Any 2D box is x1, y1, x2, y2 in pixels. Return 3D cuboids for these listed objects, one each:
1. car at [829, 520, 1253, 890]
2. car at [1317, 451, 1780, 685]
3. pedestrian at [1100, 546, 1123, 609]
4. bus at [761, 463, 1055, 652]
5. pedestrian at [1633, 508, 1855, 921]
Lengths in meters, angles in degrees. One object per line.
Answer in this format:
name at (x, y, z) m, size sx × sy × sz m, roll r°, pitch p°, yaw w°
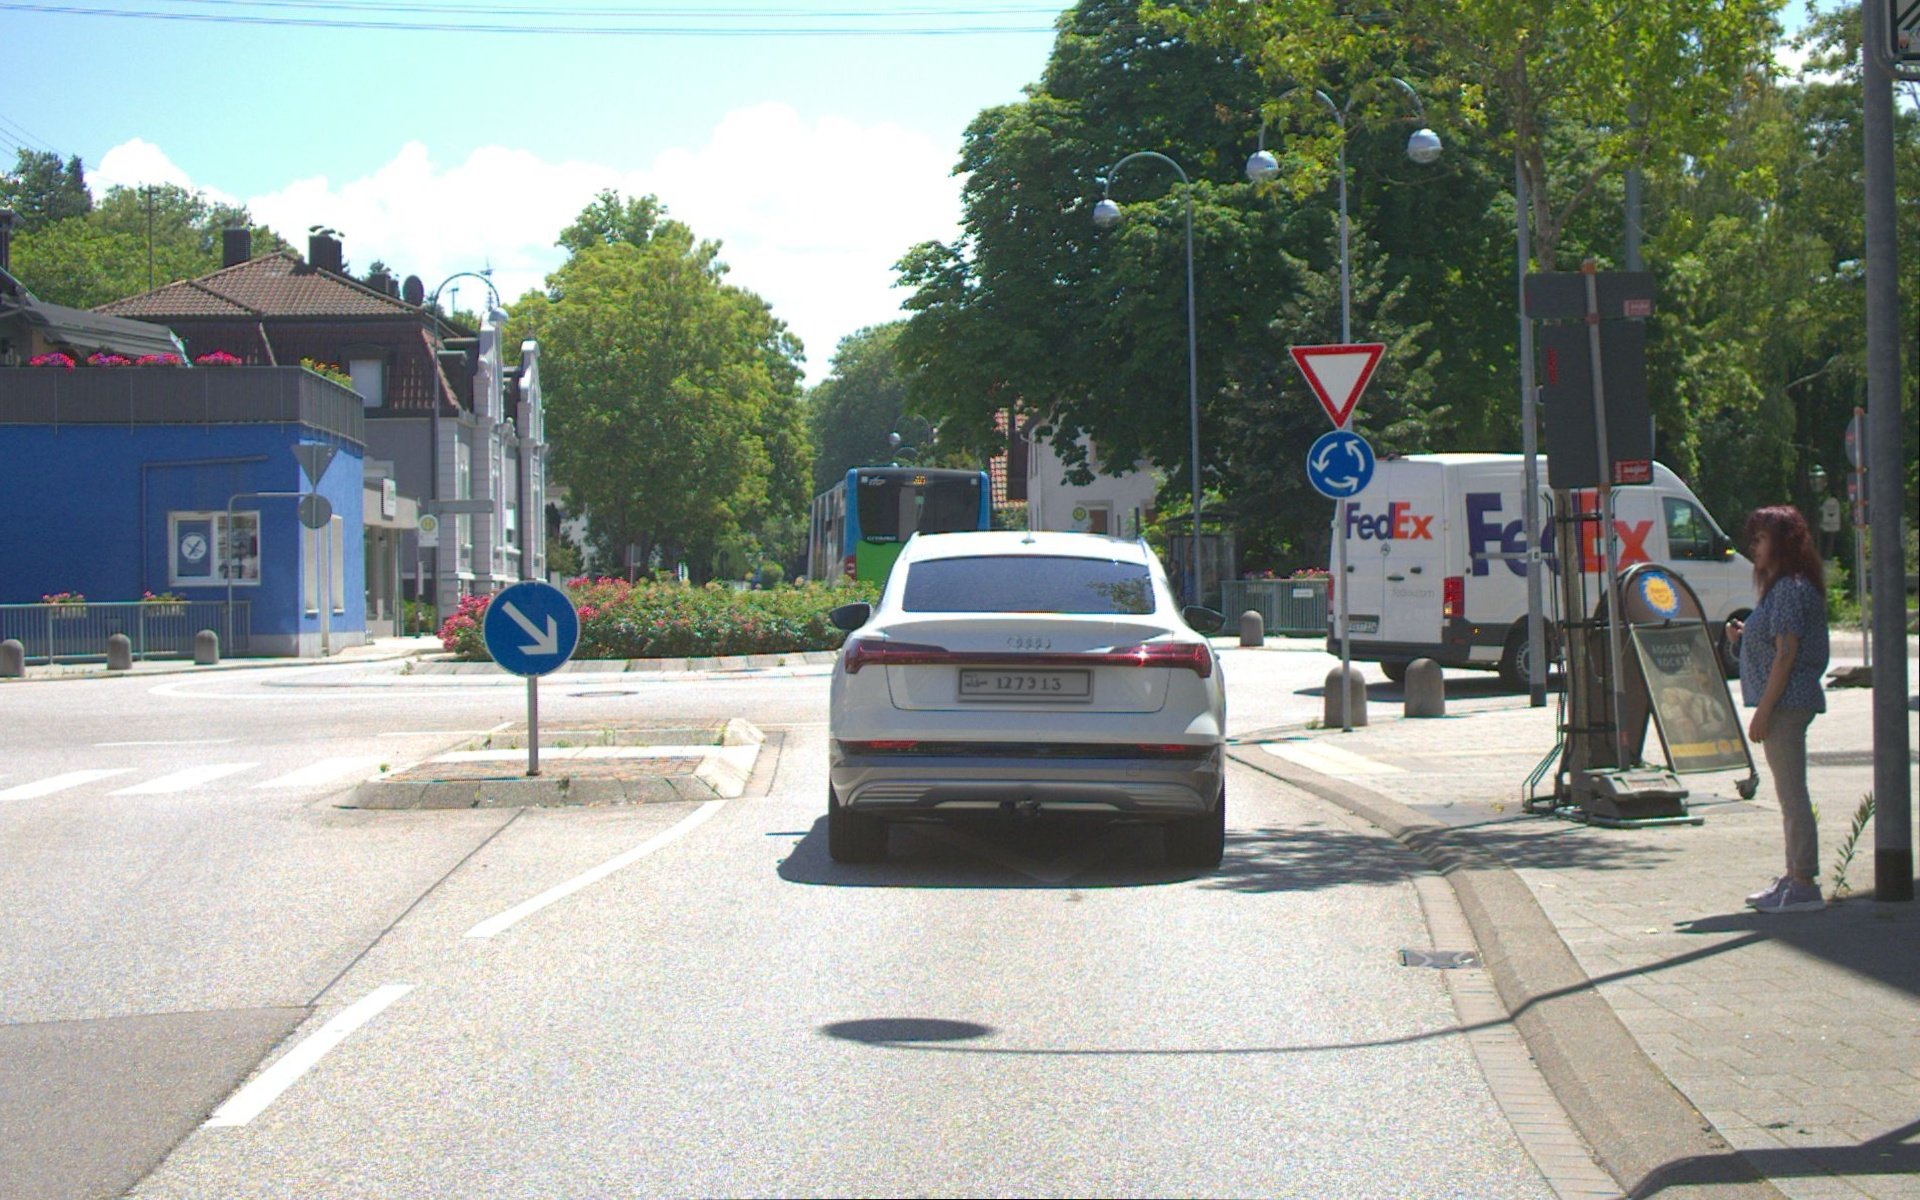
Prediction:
car at (0.343, 0.446, 17.759) m, size 1.898 × 1.656 × 4.409 m, roll 1°, pitch 1°, yaw -1°
car at (6.705, -0.397, 38.789) m, size 5.468 × 2.472 × 1.999 m, roll -2°, pitch 1°, yaw -39°
pedestrian at (3.988, -0.584, 90.636) m, size 0.502 × 1.644 × 0.580 m, roll -1°, pitch 1°, yaw -7°
bus at (-1.390, -0.757, 67.502) m, size 3.705 × 3.160 × 18.073 m, roll 1°, pitch 0°, yaw -7°
pedestrian at (3.125, 0.446, 13.742) m, size 0.732 × 1.604 × 0.559 m, roll -1°, pitch 1°, yaw 1°
